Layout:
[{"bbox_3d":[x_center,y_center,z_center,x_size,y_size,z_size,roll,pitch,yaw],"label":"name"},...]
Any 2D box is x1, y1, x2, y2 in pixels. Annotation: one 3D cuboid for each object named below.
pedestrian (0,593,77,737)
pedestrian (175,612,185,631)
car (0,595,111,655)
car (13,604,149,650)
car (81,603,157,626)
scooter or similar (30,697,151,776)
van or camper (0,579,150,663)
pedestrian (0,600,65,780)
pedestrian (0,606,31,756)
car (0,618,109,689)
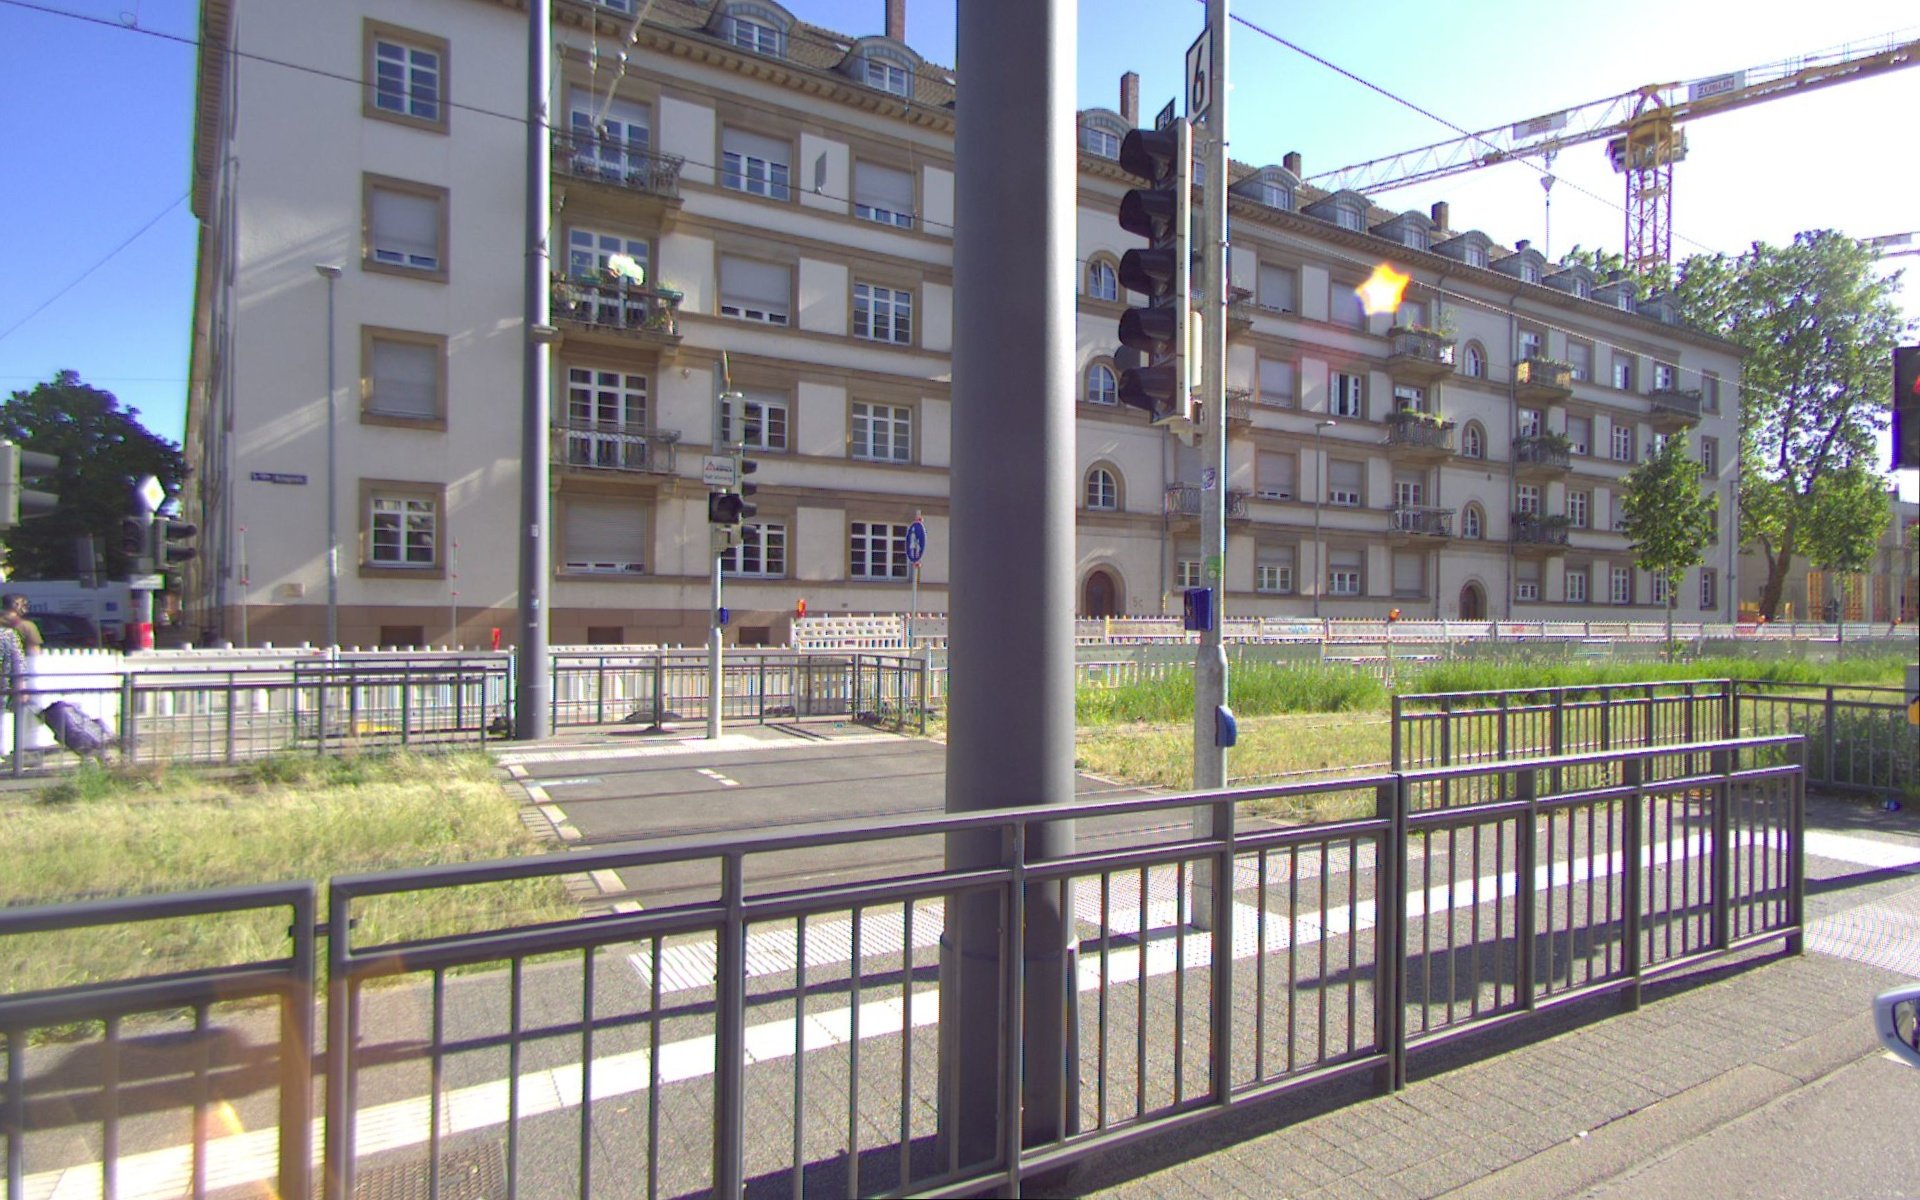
[{"bbox_3d":[-12.300,0.821,13.073,0.894,1.804,0.865,1,0,-15],"label":"pedestrian"},{"bbox_3d":[-74.310,2.079,95.669,0.682,1.778,0.808,1,-1,-36],"label":"pedestrian"},{"bbox_3d":[-25.055,0.663,26.773,3.635,1.542,1.672,1,-1,-39],"label":"car"},{"bbox_3d":[-35.545,1.092,40.767,3.963,1.799,1.724,1,-1,-37],"label":"car"},{"bbox_3d":[-58.028,1.013,69.318,1.730,1.480,3.854,-1,-1,43],"label":"car"},{"bbox_3d":[-8.087,1.259,9.371,0.698,0.660,0.514,1,0,-19],"label":"scooter or similar"},{"bbox_3d":[-28.121,0.629,30.095,5.911,2.432,1.976,1,-1,-42],"label":"van or camper"},{"bbox_3d":[-8.772,0.785,9.040,0.802,1.557,0.794,1,0,-19],"label":"pedestrian"},{"bbox_3d":[-10.543,0.847,10.553,0.897,1.557,0.862,1,0,-24],"label":"pedestrian"},{"bbox_3d":[-21.500,1.174,22.511,3.642,1.542,1.672,1,-1,-39],"label":"car"}]
